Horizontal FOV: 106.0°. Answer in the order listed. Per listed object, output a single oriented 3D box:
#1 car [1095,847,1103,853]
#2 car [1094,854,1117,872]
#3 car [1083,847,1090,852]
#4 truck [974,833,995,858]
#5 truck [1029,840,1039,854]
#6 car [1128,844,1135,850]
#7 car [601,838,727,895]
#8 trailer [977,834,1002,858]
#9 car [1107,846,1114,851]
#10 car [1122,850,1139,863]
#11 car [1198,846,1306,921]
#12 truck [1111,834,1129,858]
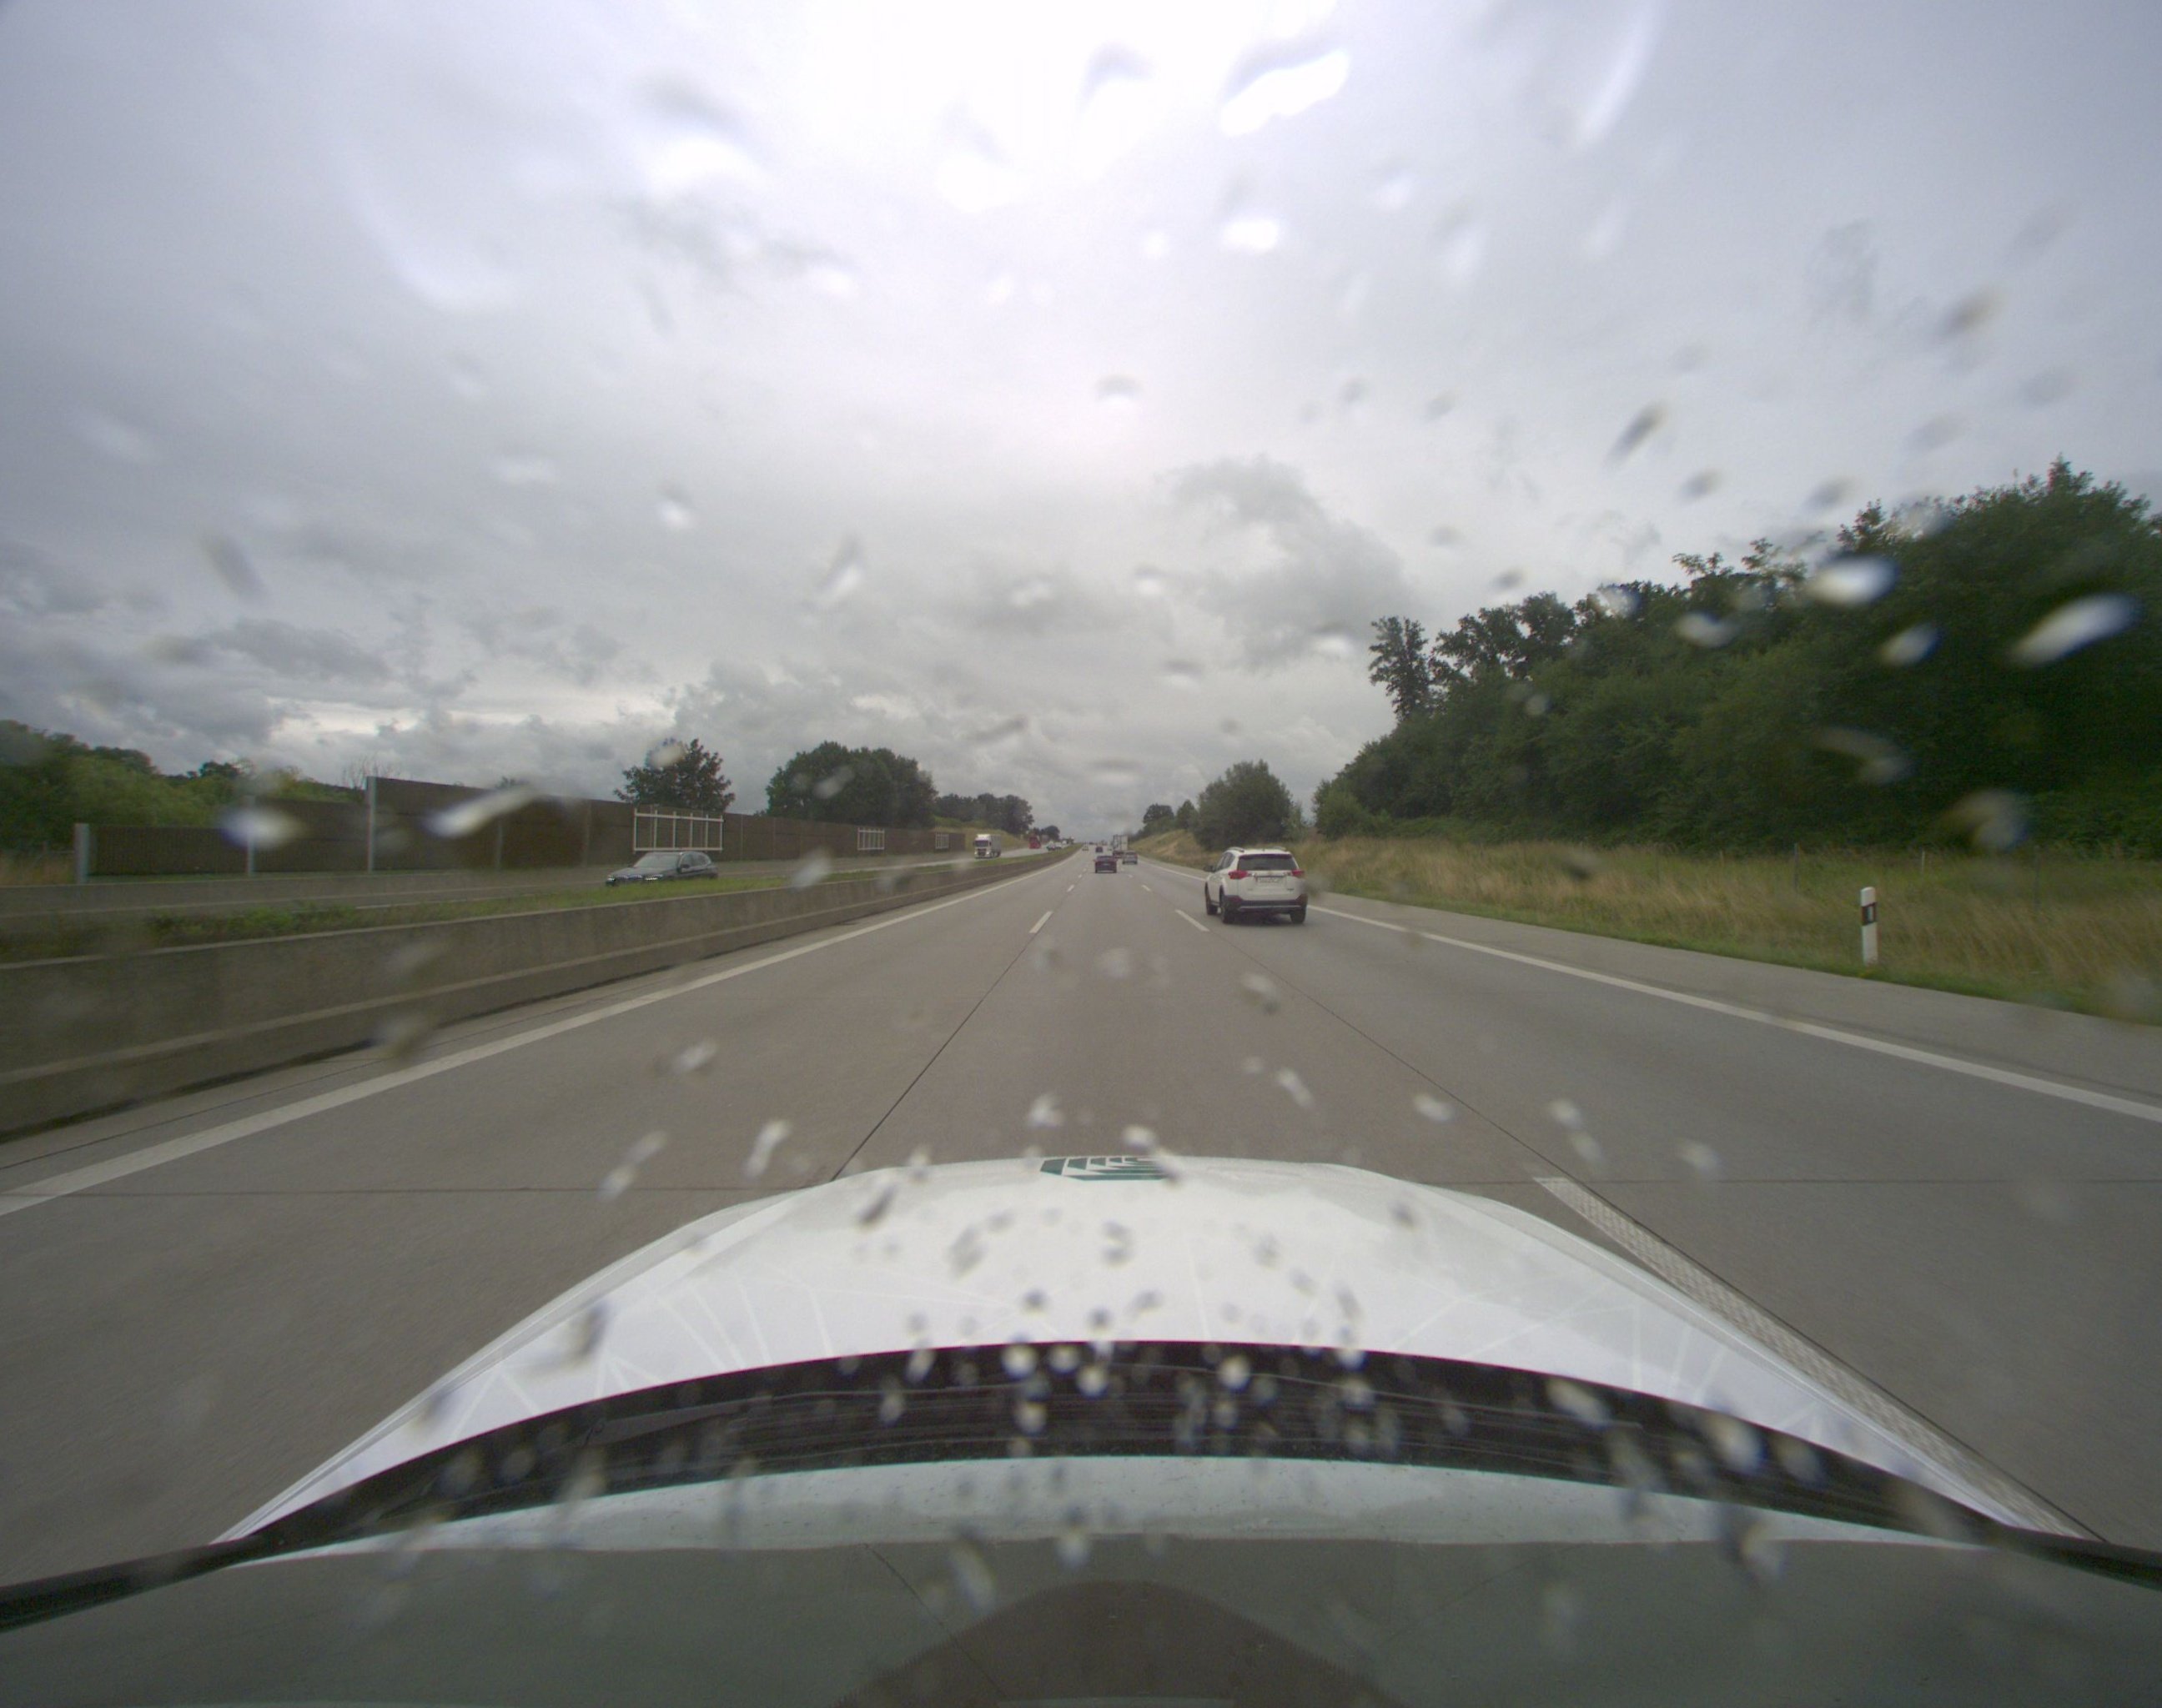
[{"bbox_3d":[4.760,-1.074,209.833,1.927,1.375,4.597,0,-1,2],"label":"car"},{"bbox_3d":[1.951,0.713,65.045,1.747,1.398,4.483,0,0,0],"label":"car"},{"bbox_3d":[1.619,-1.403,234.562,1.940,1.356,4.262,0,0,2],"label":"car"},{"bbox_3d":[-16.154,-1.346,136.755,2.673,4.083,6.218,0,0,1],"label":"truck"},{"bbox_3d":[-14.365,-2.221,248.581,2.543,4.251,7.465,0,0,1],"label":"truck"},{"bbox_3d":[16.146,-2.184,260.308,1.985,2.013,4.004,0,0,3],"label":"car"},{"bbox_3d":[-14.060,0.402,27.794,1.810,1.767,4.732,0,-1,0],"label":"car"},{"bbox_3d":[-16.051,-1.360,144.139,2.687,4.096,14.007,0,0,1],"label":"trailer"},{"bbox_3d":[8.848,-1.678,246.335,1.985,1.640,4.004,0,0,3],"label":"car"},{"bbox_3d":[6.112,0.349,100.195,1.985,1.530,4.003,0,0,3],"label":"car"},{"bbox_3d":[4.032,0.652,19.824,1.819,1.655,3.985,0,0,0],"label":"car"},{"bbox_3d":[6.977,-1.392,145.677,3.006,4.180,8.356,0,0,1],"label":"truck"}]
